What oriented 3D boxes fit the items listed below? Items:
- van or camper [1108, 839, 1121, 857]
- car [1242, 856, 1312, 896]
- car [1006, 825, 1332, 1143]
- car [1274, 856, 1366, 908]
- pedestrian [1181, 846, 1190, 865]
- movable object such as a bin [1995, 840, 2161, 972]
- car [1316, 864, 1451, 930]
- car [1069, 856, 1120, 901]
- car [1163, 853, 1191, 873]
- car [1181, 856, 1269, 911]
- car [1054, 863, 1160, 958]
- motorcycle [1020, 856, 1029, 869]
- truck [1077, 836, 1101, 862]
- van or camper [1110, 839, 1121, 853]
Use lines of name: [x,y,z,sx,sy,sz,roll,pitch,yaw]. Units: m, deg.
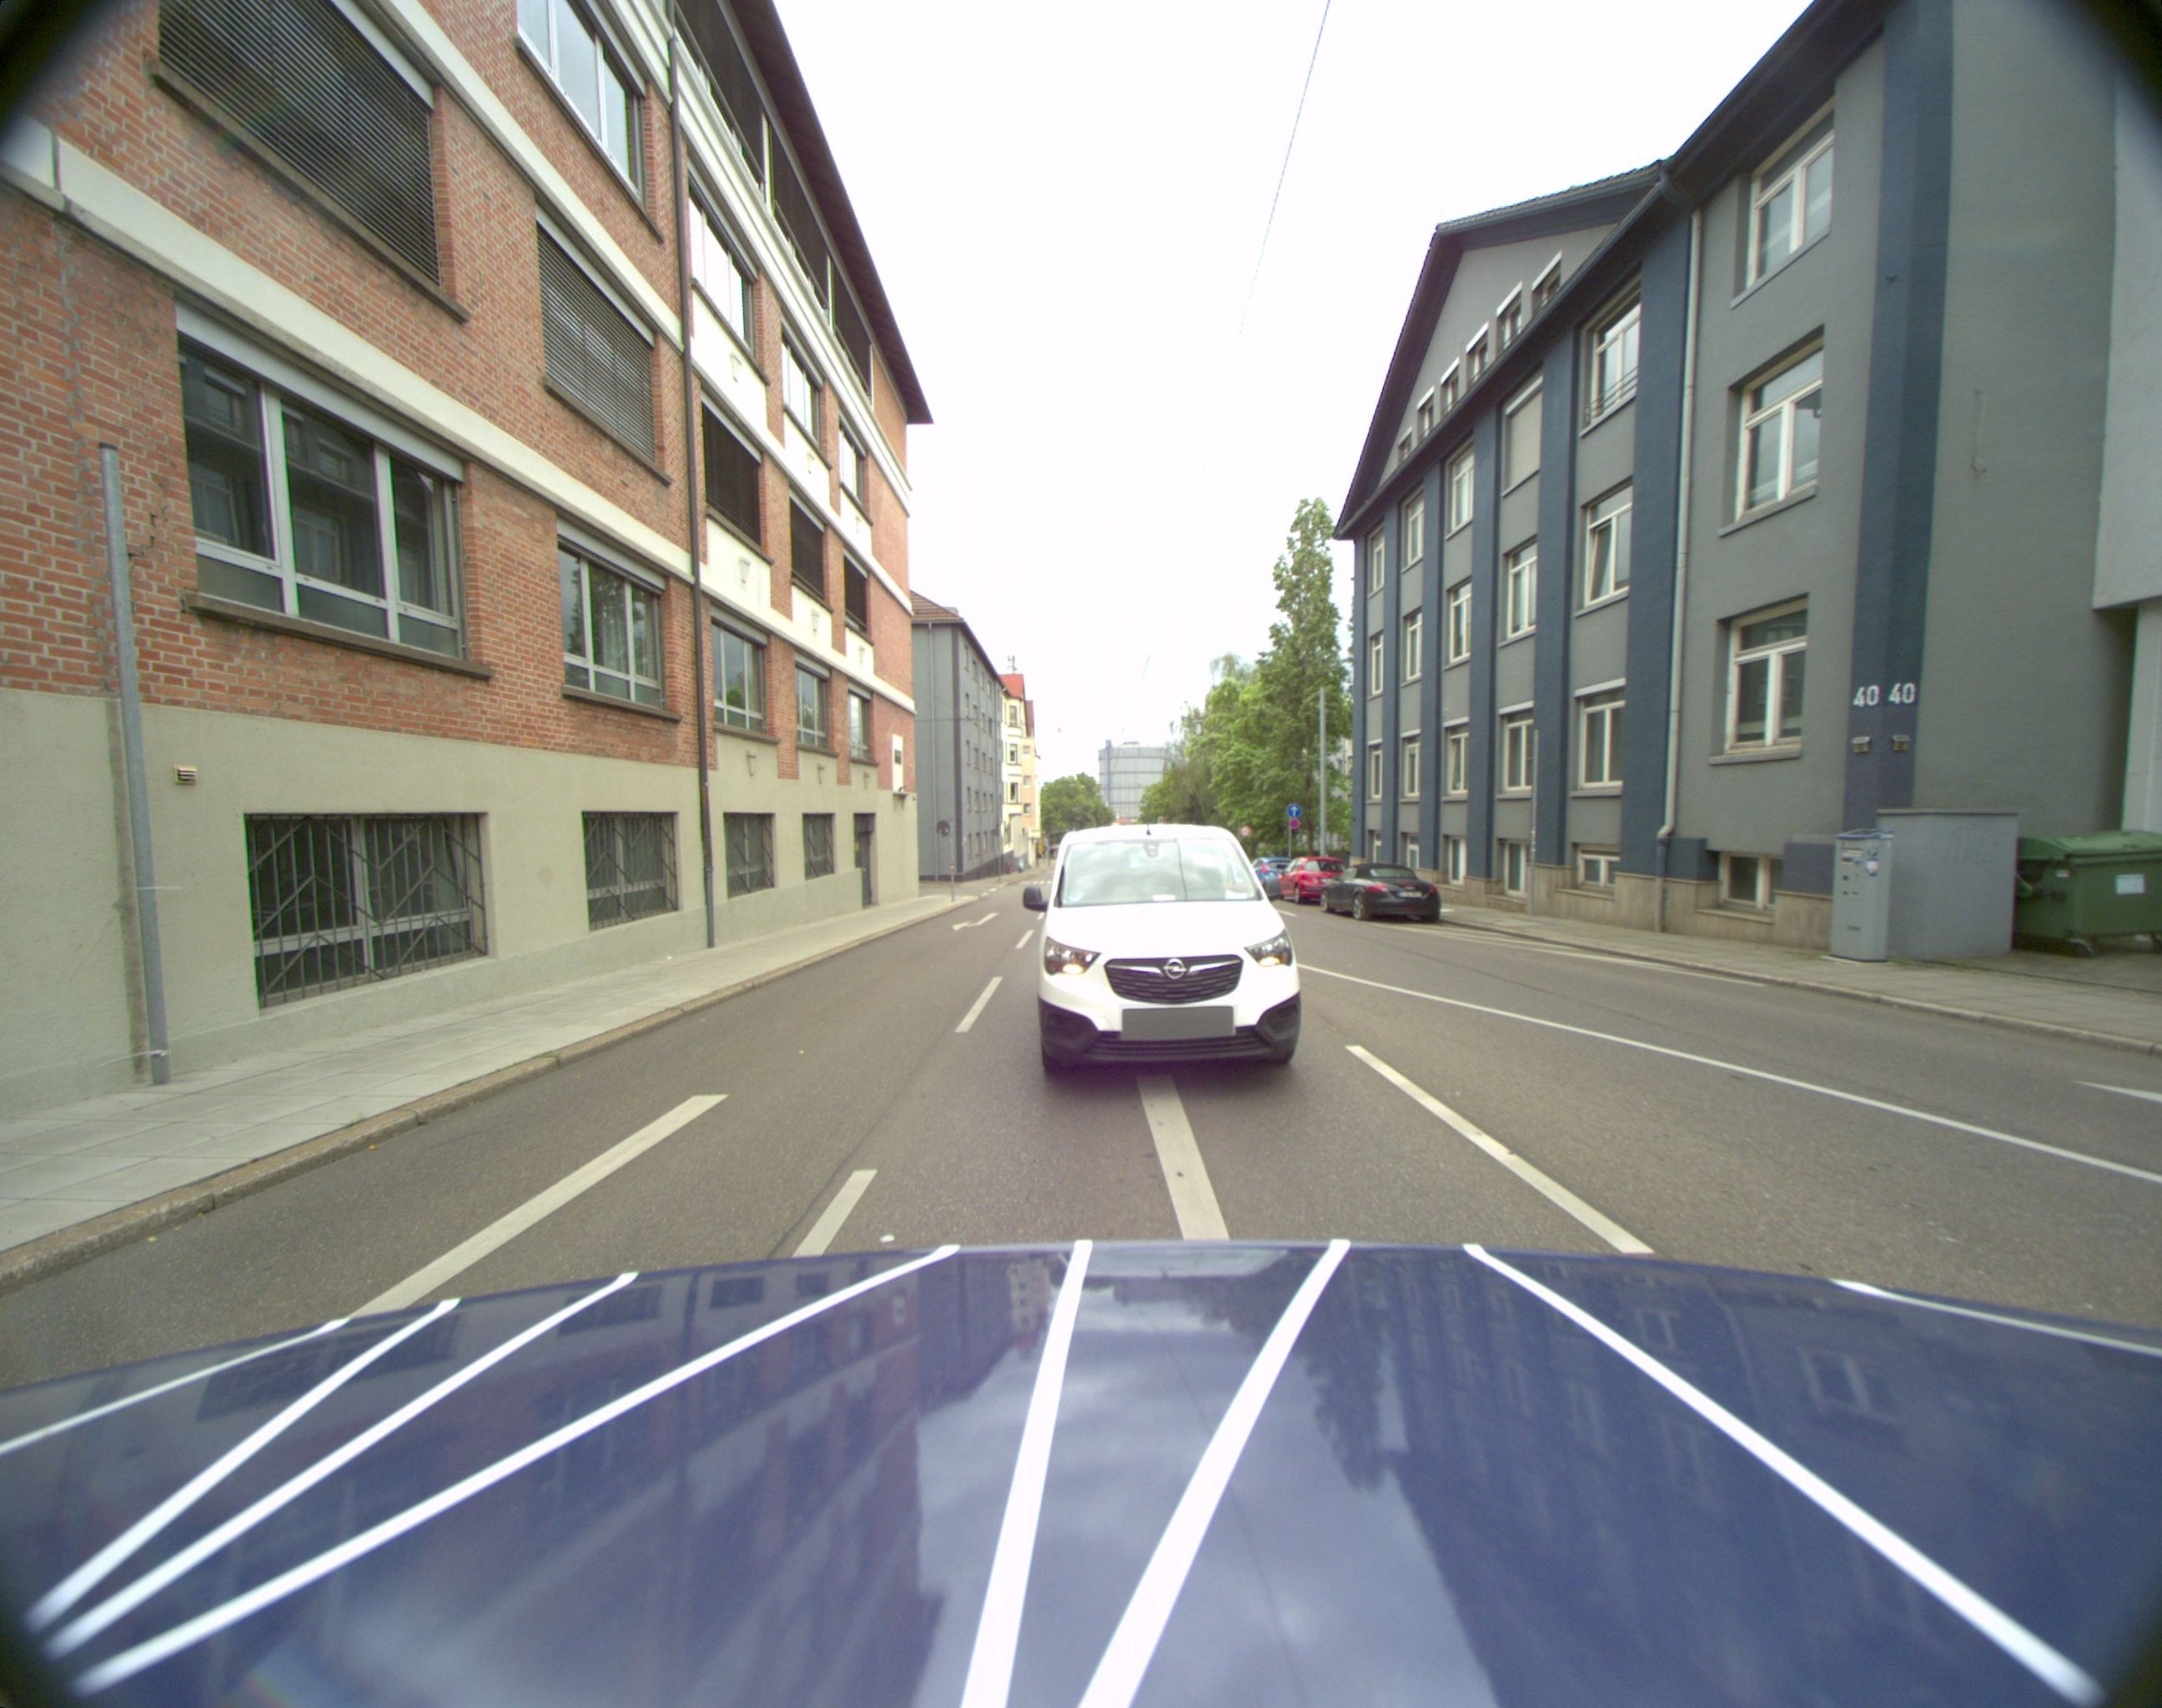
van or camper: [5.209,-0.996,119.937,1.914,2.754,5.925,1,0,2]
car: [7.596,0.805,29.777,1.724,1.445,3.727,1,0,0]
car: [0.563,0.754,6.920,1.840,1.797,4.939,-2,0,1]
car: [7.532,0.844,24.352,1.819,1.465,3.869,2,0,2]
pedestrian: [10.153,0.113,73.976,0.746,1.839,0.776,-1,1,2]
movable object such as a bin: [12.094,0.593,9.102,1.267,1.448,0.784,-3,2,4]
car: [7.193,0.953,18.522,1.724,1.319,4.041,2,0,1]
car: [0.502,0.833,27.716,1.724,1.486,3.727,1,0,2]
car: [7.162,0.624,57.080,1.677,1.392,3.794,2,0,1]
car: [4.193,0.813,22.854,1.790,1.410,4.670,2,0,1]
car: [0.479,0.946,14.274,1.724,1.486,3.727,1,0,2]
motorcycle: [-5.071,0.783,68.534,0.566,1.105,1.653,4,0,2]
truck: [1.169,-0.749,106.780,2.980,3.394,9.358,-2,0,1]
van or camper: [6.756,-1.525,149.786,1.914,2.754,5.925,1,0,2]
